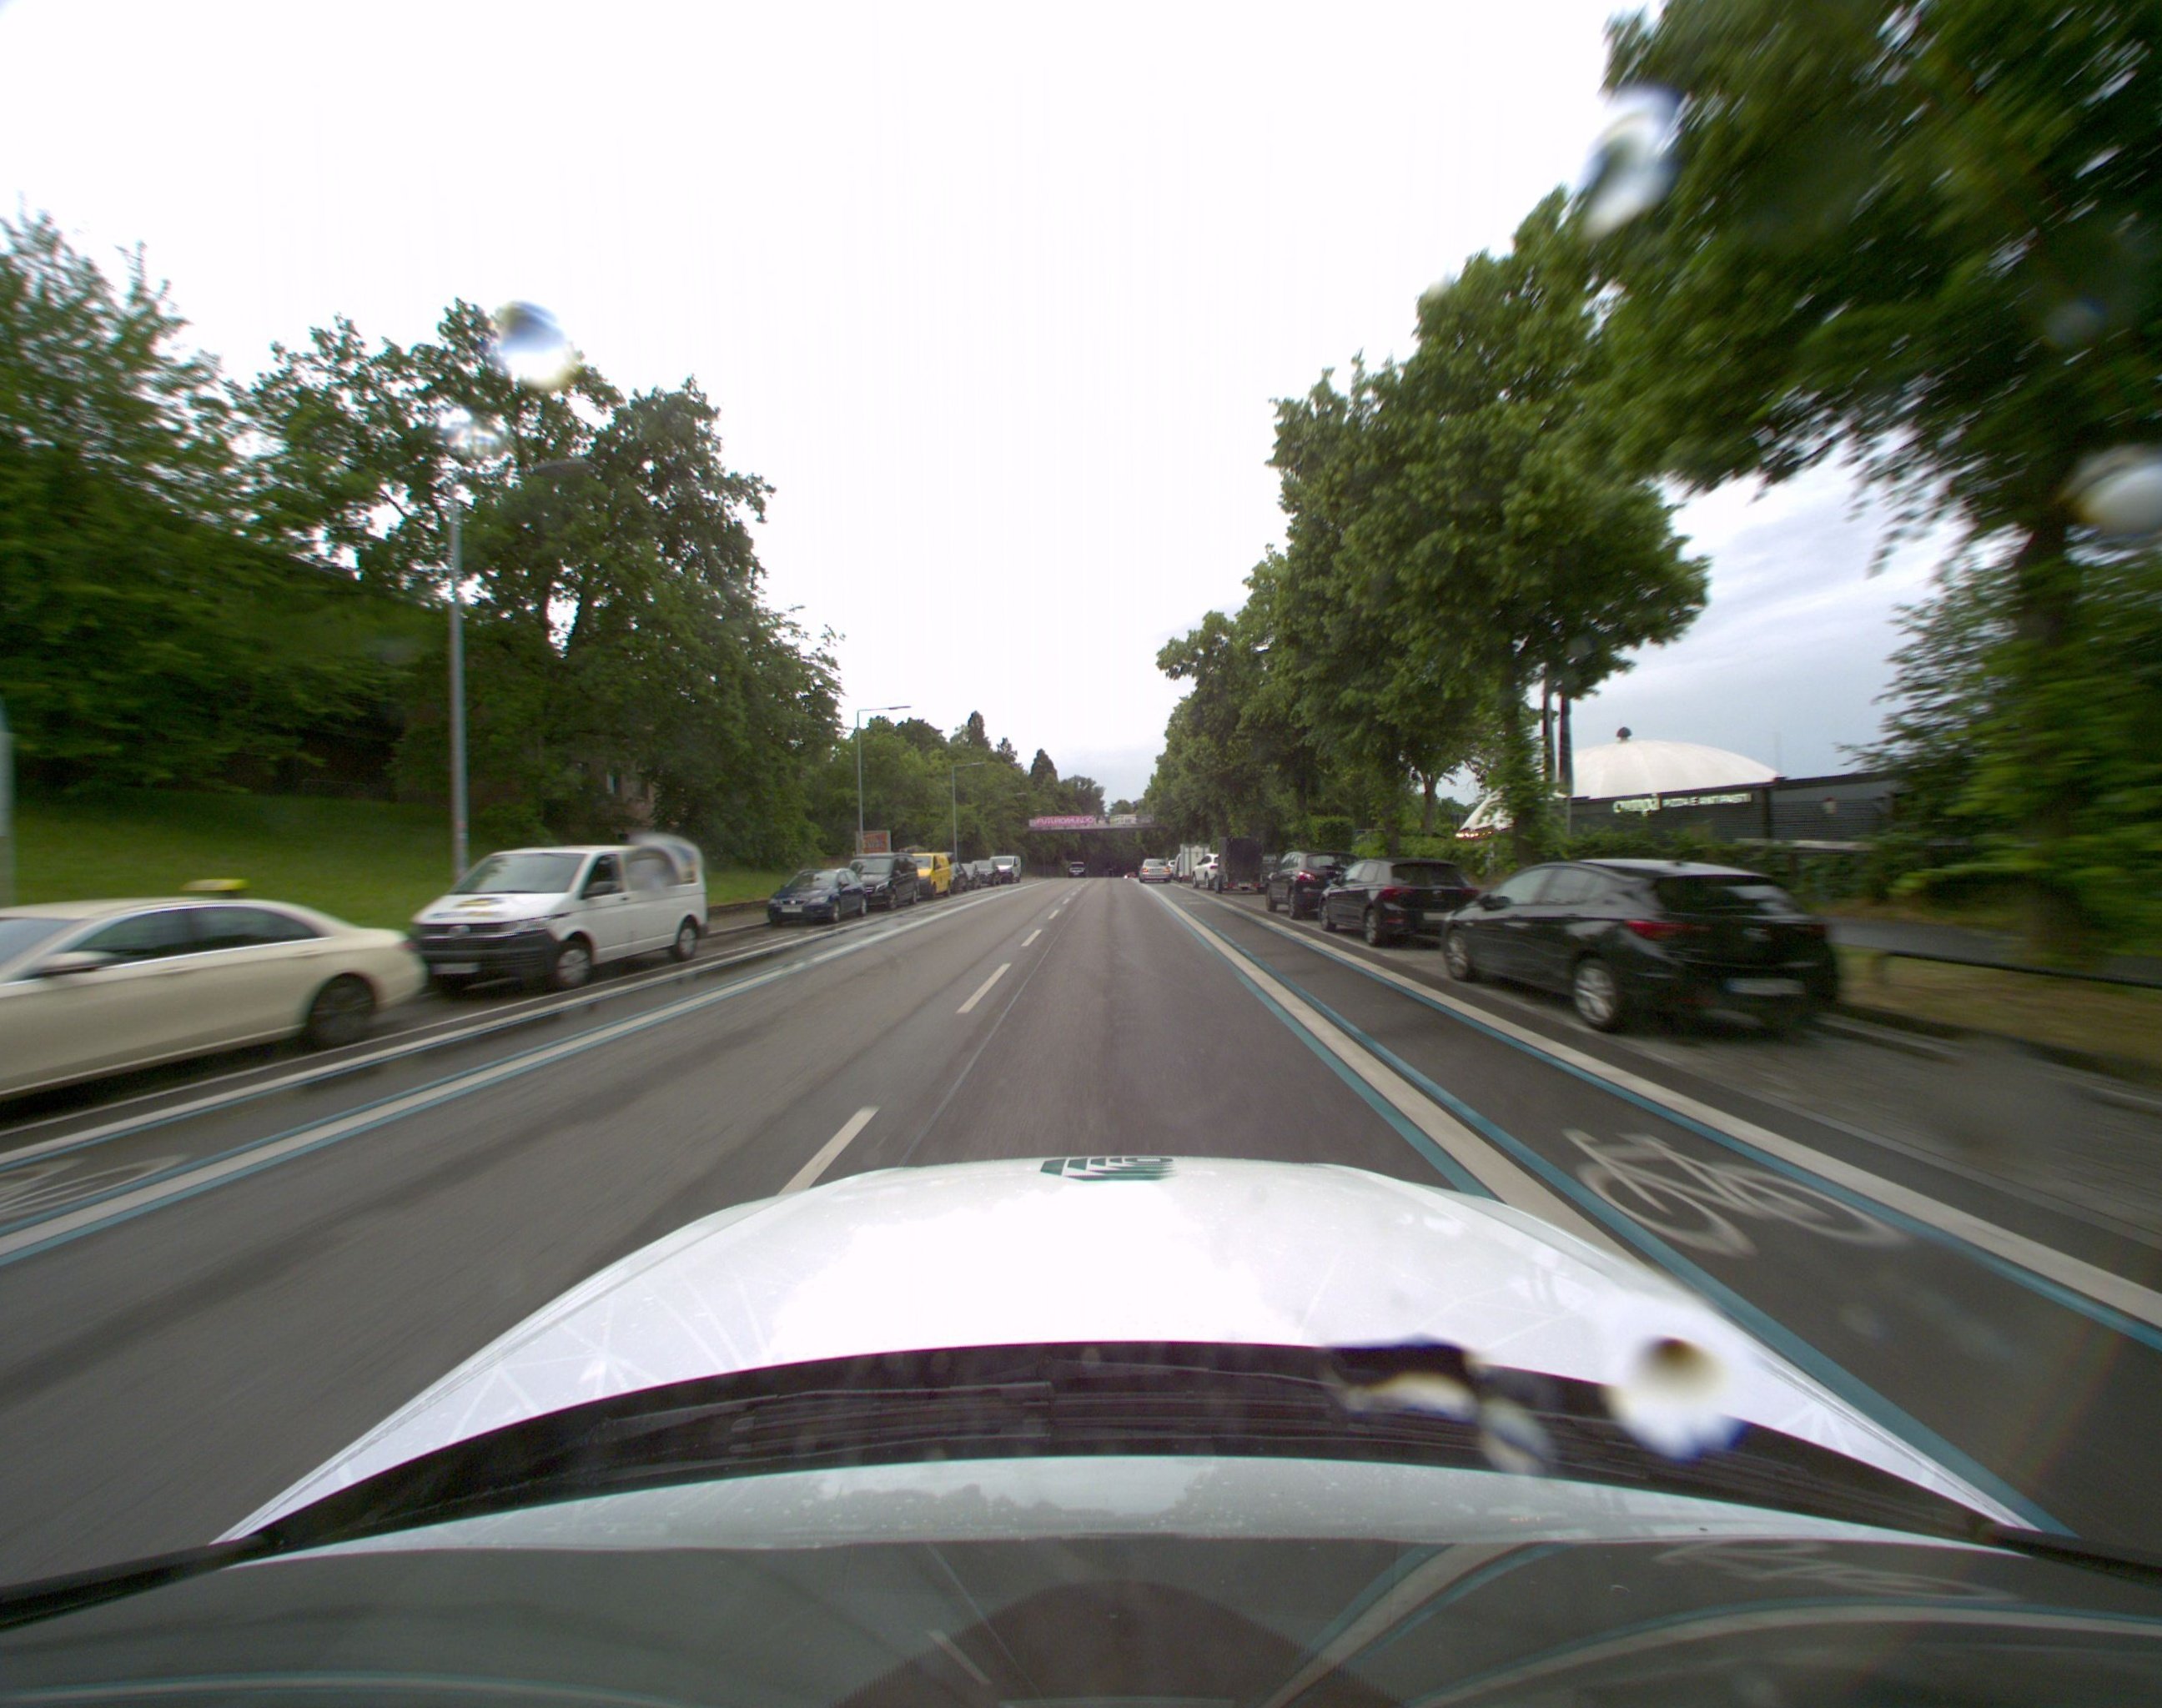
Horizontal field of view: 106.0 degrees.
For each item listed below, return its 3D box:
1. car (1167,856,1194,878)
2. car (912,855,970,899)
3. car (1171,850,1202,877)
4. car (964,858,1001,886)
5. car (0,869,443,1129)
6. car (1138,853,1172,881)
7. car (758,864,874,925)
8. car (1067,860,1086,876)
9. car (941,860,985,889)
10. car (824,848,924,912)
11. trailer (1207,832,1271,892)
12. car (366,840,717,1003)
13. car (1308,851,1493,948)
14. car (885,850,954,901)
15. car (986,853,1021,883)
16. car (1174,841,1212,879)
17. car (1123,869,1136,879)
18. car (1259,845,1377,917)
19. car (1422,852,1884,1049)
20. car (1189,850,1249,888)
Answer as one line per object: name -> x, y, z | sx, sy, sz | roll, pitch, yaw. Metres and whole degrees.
car -> 7.396, 0.945, 61.006 | 1.724, 1.462, 4.048 | -2, 0, 3
car -> -6.769, 1.062, 39.759 | 1.983, 1.893, 4.055 | -2, 1, 1
car -> 6.976, 0.633, 54.256 | 1.724, 1.684, 4.048 | -2, 0, 3
car -> -6.141, 1.078, 51.173 | 1.864, 1.542, 4.053 | -2, 1, -1
car -> -7.971, 1.001, 6.292 | 1.982, 1.605, 4.987 | -1, 0, 2
car -> 4.457, 0.729, 49.532 | 1.724, 1.583, 4.038 | -2, 0, 2
car -> -7.320, 1.071, 22.956 | 1.725, 1.390, 4.371 | -2, 1, 1
car -> -0.488, 1.427, 83.523 | 1.863, 1.473, 4.053 | -2, 0, -1
car -> -6.483, 1.100, 45.257 | 1.880, 1.451, 3.981 | -2, 1, -1
car -> -7.069, 0.820, 28.418 | 1.983, 1.946, 5.143 | -2, 1, 1
trailer -> 6.185, 0.300, 32.249 | 1.876, 2.166, 3.810 | -2, 0, 2
car -> -7.666, 0.793, 12.373 | 1.906, 1.931, 4.929 | -2, 1, 1
car -> 5.469, 0.698, 14.532 | 1.725, 1.463, 4.072 | -1, 0, 0
car -> -6.771, 0.828, 34.676 | 1.876, 1.945, 4.827 | -2, 1, 1
car -> -5.529, 0.981, 58.606 | 1.749, 1.931, 4.198 | -2, 1, 4
car -> 6.684, 0.345, 48.912 | 1.881, 2.127, 4.048 | -2, 0, 3
car -> 9.044, 3.712, 151.670 | 2.128, 1.492, 4.508 | -1, 0, 8
car -> 5.691, 0.596, 20.050 | 1.725, 1.583, 4.154 | 0, 0, 0
car -> 5.219, 0.720, 8.284 | 1.725, 1.463, 4.277 | 0, 0, 0
car -> 6.092, 0.635, 36.367 | 1.727, 1.583, 4.150 | -2, 0, -3
